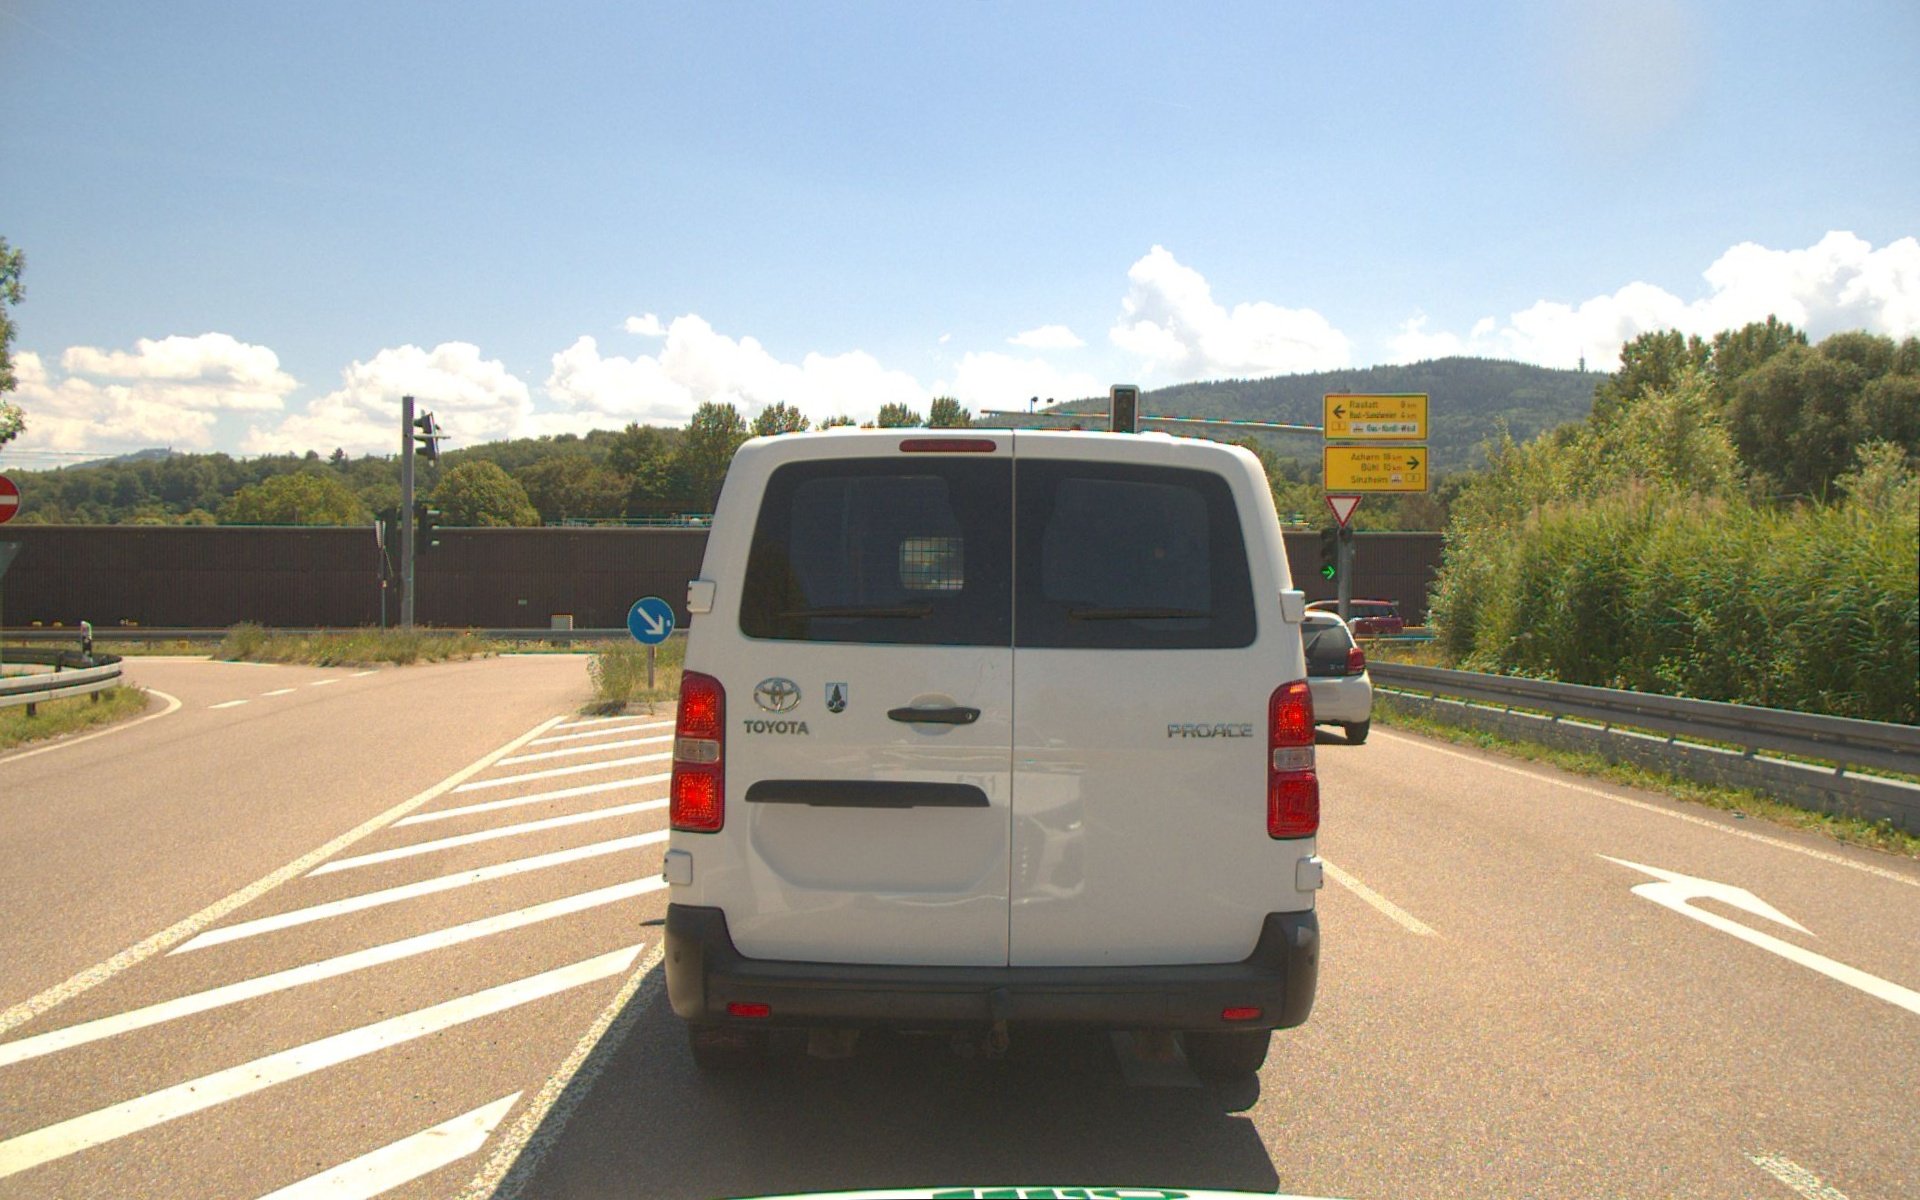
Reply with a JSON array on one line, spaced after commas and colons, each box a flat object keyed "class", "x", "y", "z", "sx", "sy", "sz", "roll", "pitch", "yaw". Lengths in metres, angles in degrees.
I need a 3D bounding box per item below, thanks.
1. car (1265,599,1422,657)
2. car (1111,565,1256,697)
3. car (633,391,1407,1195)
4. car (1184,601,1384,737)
[{"class": "car", "x": 11.548, "y": 0.825, "z": 49.968, "sx": 4.225, "sy": 1.685, "sz": 1.998, "roll": 0, "pitch": 0, "yaw": -4}, {"class": "car", "x": 3.713, "y": 0.491, "z": 28.261, "sx": 1.889, "sy": 2.035, "sz": 4.838, "roll": 1, "pitch": 0, "yaw": 1}, {"class": "car", "x": 0.108, "y": 0.478, "z": 5.993, "sx": 1.848, "sy": 1.919, "sz": 3.999, "roll": 1, "pitch": 0, "yaw": -1}, {"class": "car", "x": 3.765, "y": 0.759, "z": 19.717, "sx": 1.622, "sy": 1.456, "sz": 3.364, "roll": 1, "pitch": 0, "yaw": -2}]
